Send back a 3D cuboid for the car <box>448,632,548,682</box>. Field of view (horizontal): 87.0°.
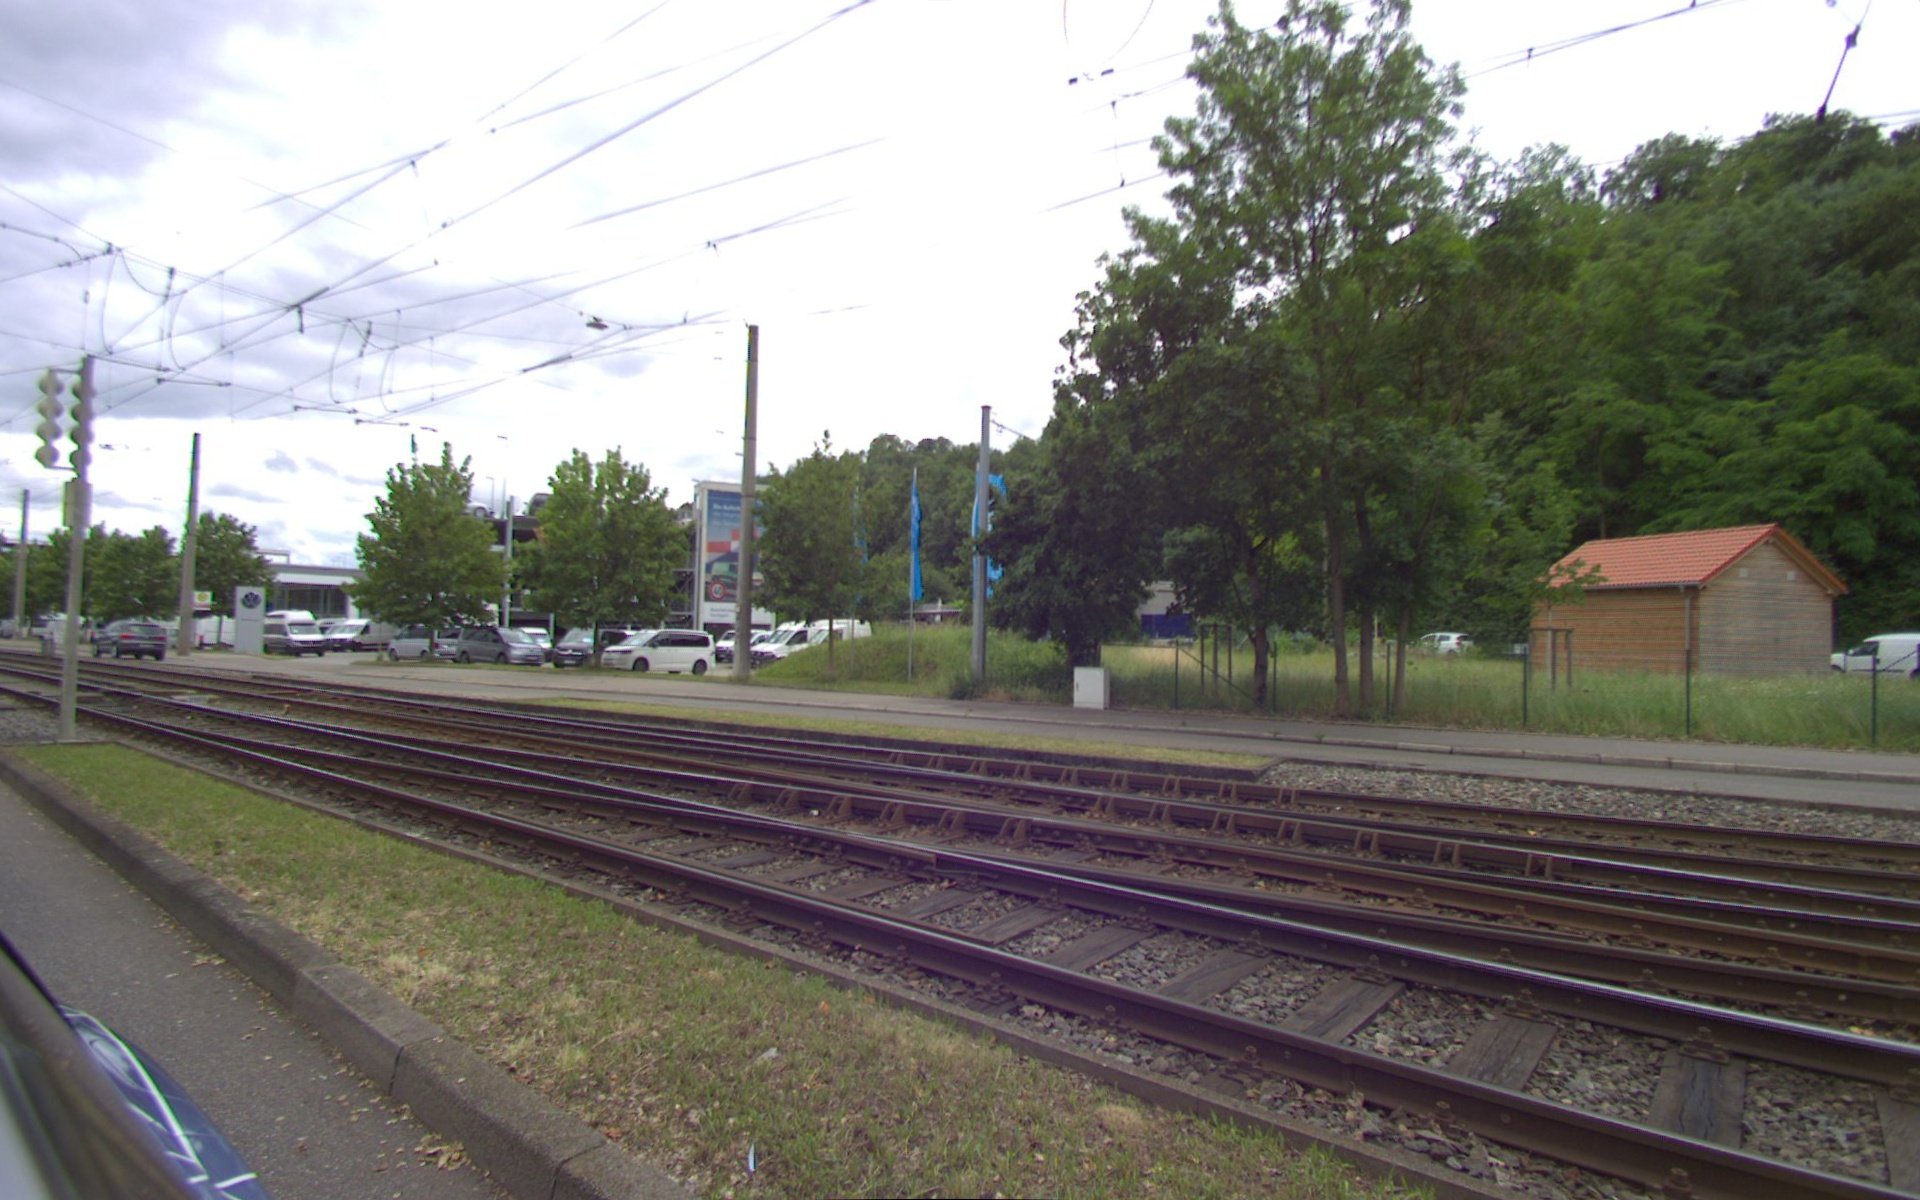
[{"bbox_3d":[-21.847,2.632,47.776,4.763,2.132,2.118,-1,0,34],"label":"car"}]

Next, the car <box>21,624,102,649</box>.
[{"bbox_3d":[-73.583,2.989,82.900,2.102,1.854,4.589,-1,0,32],"label":"car"}]

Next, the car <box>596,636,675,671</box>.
[{"bbox_3d":[-19.442,3.159,60.665,4.165,1.850,1.986,-1,0,-31],"label":"car"}]

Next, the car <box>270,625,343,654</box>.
[{"bbox_3d":[-53.669,3.221,83.185,2.107,2.225,4.578,-1,0,39],"label":"car"}]

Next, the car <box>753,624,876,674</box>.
[{"bbox_3d":[-7.325,2.418,51.165,5.751,2.284,2.060,-1,0,-28],"label":"car"}]

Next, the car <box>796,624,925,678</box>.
[{"bbox_3d":[-4.717,2.388,48.407,5.762,2.284,2.060,-1,0,-28],"label":"car"}]

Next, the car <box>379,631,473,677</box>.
[{"bbox_3d":[-27.068,2.703,51.254,4.761,2.132,2.119,-1,0,32],"label":"car"}]

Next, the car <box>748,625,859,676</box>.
[{"bbox_3d":[-8.400,2.681,54.491,5.568,2.479,1.986,-1,0,-31],"label":"car"}]

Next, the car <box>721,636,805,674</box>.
[{"bbox_3d":[-10.934,3.024,56.300,4.165,1.850,1.986,-1,0,-31],"label":"car"}]

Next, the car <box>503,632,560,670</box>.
[{"bbox_3d":[-24.531,2.877,57.862,1.872,1.907,4.606,-1,0,-38],"label":"car"}]

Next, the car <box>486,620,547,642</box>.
[{"bbox_3d":[-41.814,2.879,95.437,5.138,1.850,1.986,-1,0,-29],"label":"car"}]

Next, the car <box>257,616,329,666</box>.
[{"bbox_3d":[-43.193,2.585,65.469,6.154,3.034,2.291,-1,0,40],"label":"car"}]

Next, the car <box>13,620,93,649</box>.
[{"bbox_3d":[-75.536,2.826,84.311,2.102,2.225,4.589,-1,0,32],"label":"car"}]

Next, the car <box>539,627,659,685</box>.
[{"bbox_3d":[-16.024,2.412,45.101,1.977,2.284,4.716,-1,0,37],"label":"car"}]

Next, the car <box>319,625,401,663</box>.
[{"bbox_3d":[-46.485,3.346,78.579,2.293,2.642,6.036,-1,0,6],"label":"car"}]

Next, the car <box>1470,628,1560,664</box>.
[{"bbox_3d":[28.163,2.301,51.460,1.727,1.625,3.693,-1,0,-22],"label":"car"}]

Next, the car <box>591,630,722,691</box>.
[{"bbox_3d":[-12.855,2.493,43.161,1.997,2.284,5.206,-1,0,37],"label":"car"}]

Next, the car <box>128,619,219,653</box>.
[{"bbox_3d":[-54.982,2.469,70.851,2.102,2.225,4.589,-1,0,32],"label":"car"}]

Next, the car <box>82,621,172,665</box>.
[{"bbox_3d":[-36.867,1.904,44.777,4.127,1.731,1.884,0,-6,35],"label":"car"}]

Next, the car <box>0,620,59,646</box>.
[{"bbox_3d":[-83.605,2.918,90.215,2.102,2.225,4.589,-1,0,32],"label":"car"}]

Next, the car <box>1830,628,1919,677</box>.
[{"bbox_3d":[34.161,1.885,36.556,1.877,1.625,3.693,-1,0,-22],"label":"car"}]

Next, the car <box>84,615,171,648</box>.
[{"bbox_3d":[-61.492,2.292,74.804,2.102,2.225,4.589,-1,0,32],"label":"car"}]

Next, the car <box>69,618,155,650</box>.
[{"bbox_3d":[-63.870,2.518,76.289,2.102,2.225,4.589,-1,0,32],"label":"car"}]

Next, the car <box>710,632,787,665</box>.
[{"bbox_3d":[-12.996,2.955,62.263,4.165,1.850,1.986,-1,0,-31],"label":"car"}]

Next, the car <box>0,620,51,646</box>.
[{"bbox_3d":[-85.627,2.942,91.590,2.102,2.225,4.589,-1,0,32],"label":"car"}]

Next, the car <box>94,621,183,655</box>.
[{"bbox_3d":[-59.512,2.721,73.355,2.102,2.225,4.589,-1,0,32],"label":"car"}]

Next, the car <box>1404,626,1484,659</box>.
[{"bbox_3d":[26.469,2.318,55.416,1.727,1.625,3.693,-1,0,-25],"label":"car"}]
